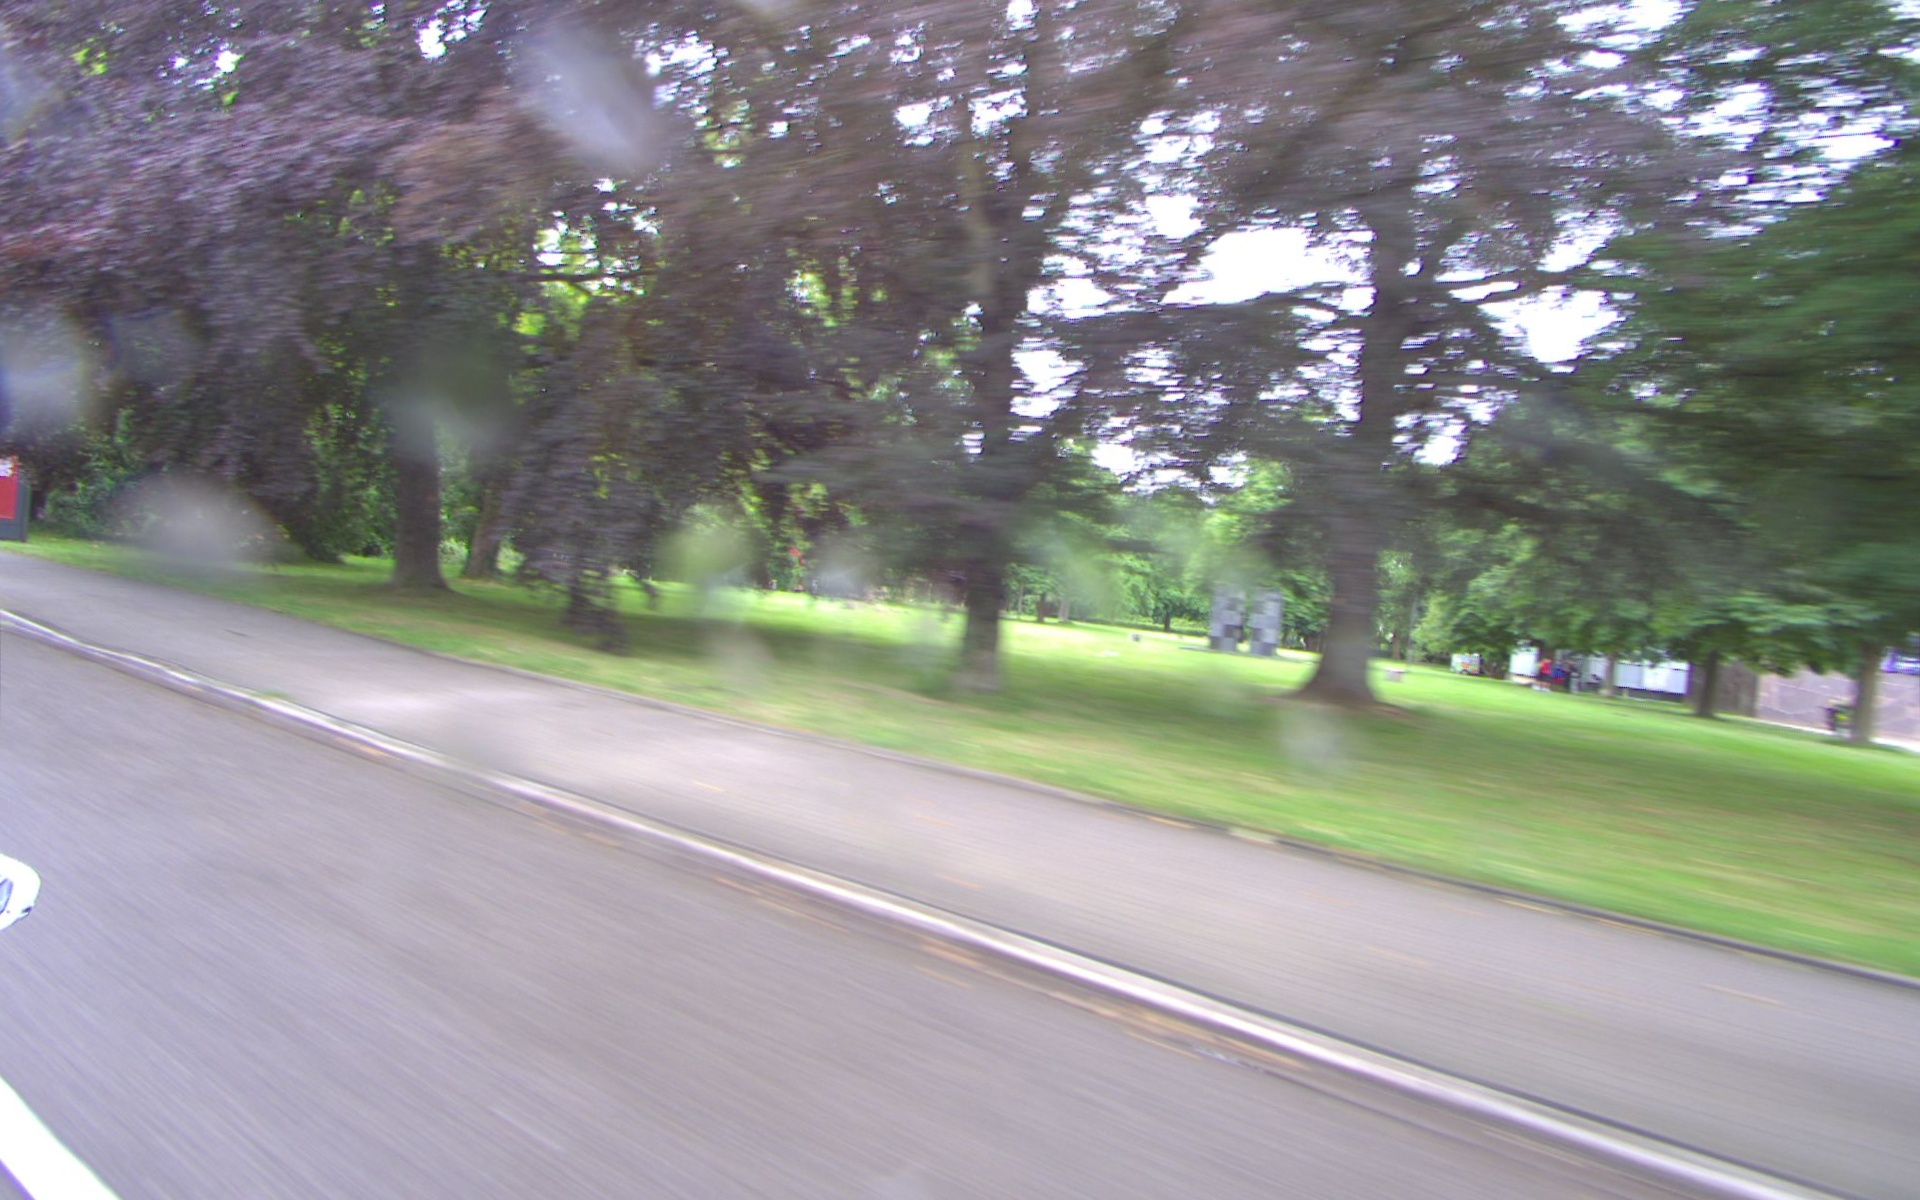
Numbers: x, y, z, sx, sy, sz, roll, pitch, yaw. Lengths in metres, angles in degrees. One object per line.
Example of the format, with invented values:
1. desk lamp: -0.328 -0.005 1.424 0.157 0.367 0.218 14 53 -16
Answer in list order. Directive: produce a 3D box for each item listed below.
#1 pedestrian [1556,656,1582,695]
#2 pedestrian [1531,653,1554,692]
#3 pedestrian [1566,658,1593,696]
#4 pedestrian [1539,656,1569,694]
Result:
1. pedestrian: 29.877 3.697 49.393 0.843 1.783 0.840 6 -2 26
2. pedestrian: 28.743 3.582 49.638 0.758 1.783 0.840 6 -2 26
3. pedestrian: 30.873 3.847 50.108 0.825 1.783 0.772 7 -2 19
4. pedestrian: 30.030 3.788 50.872 0.842 1.783 0.841 7 -1 -2
